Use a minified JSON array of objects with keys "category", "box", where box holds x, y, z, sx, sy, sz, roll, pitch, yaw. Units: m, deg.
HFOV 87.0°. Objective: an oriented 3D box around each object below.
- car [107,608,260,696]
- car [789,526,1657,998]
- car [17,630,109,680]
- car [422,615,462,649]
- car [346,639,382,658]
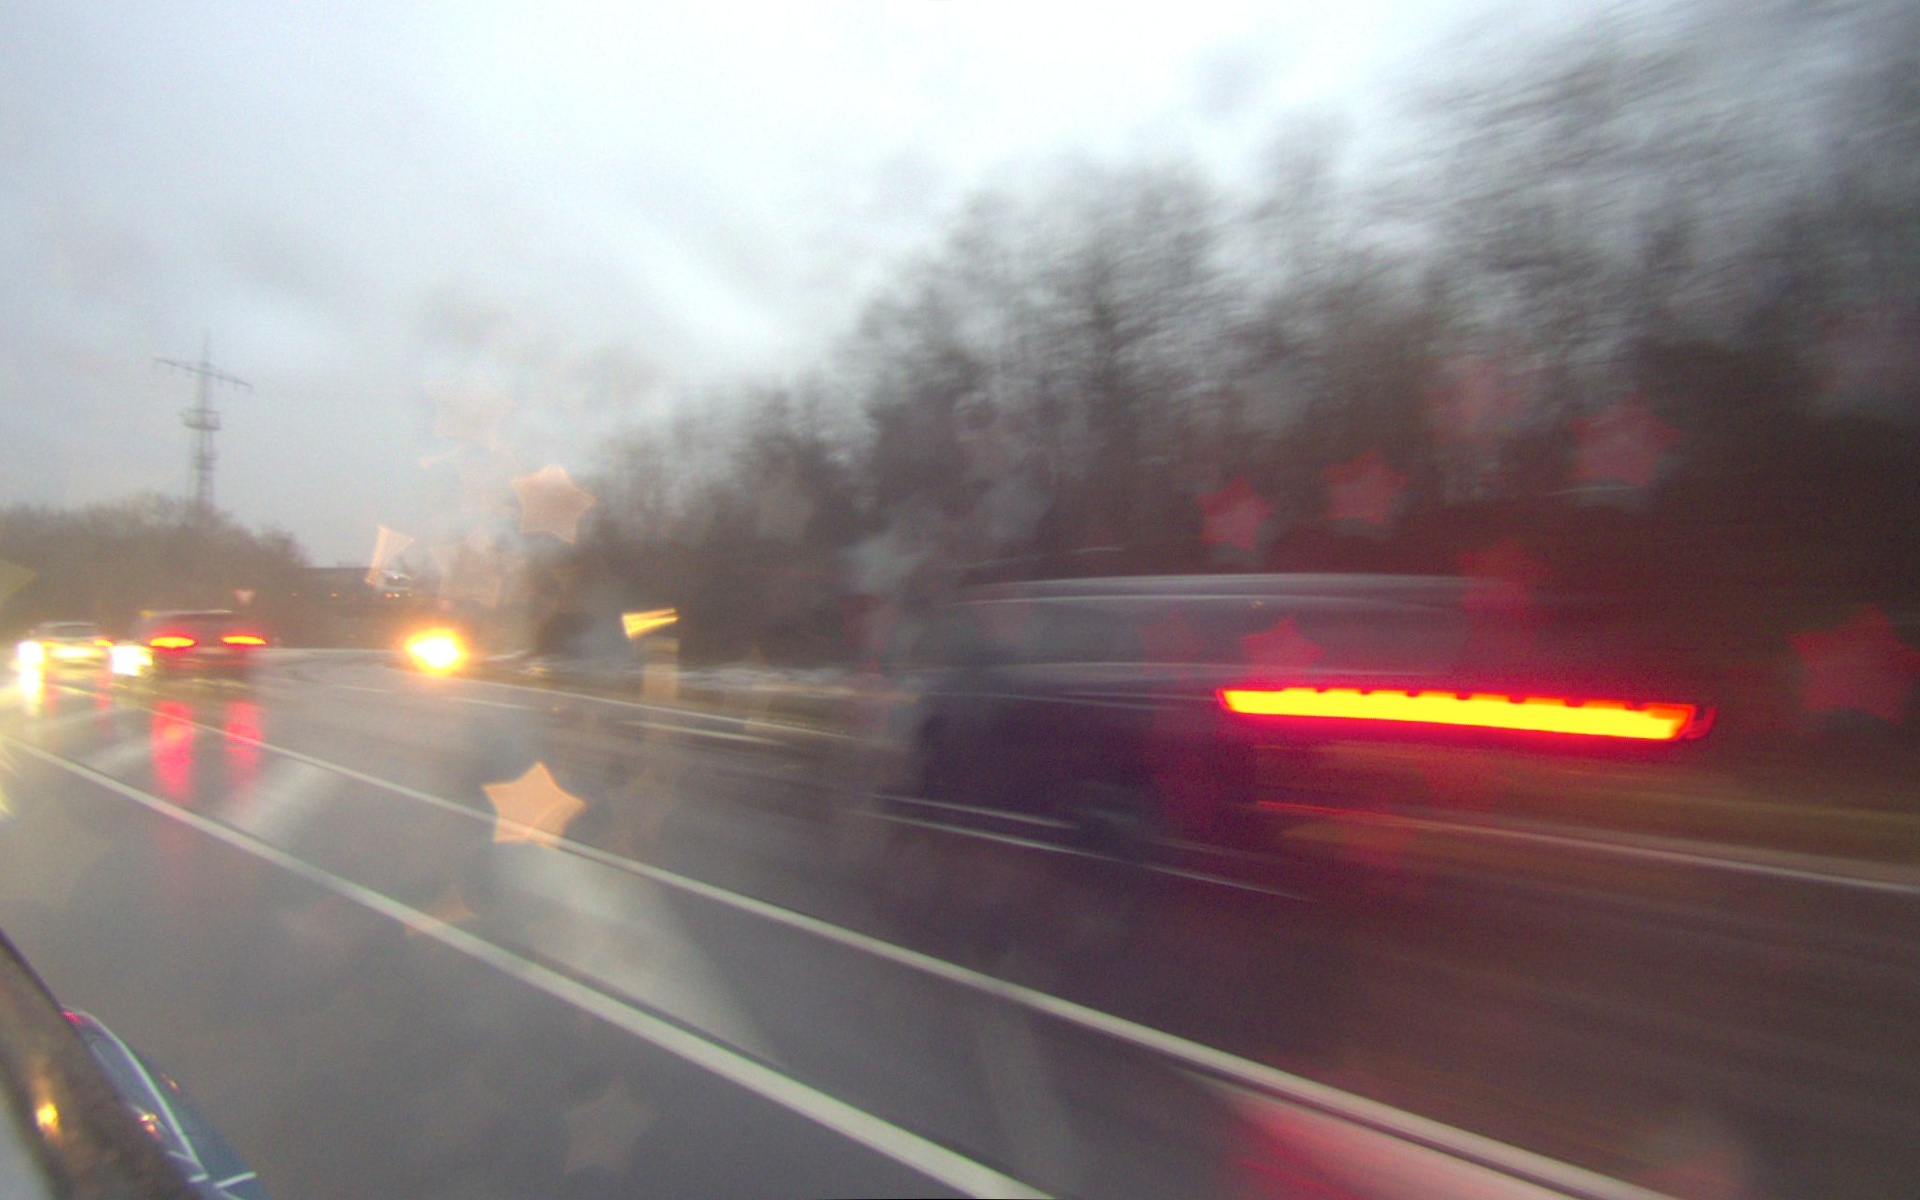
[{"category":"car","box":[-16.755,1.061,21.755,4.727,1.661,1.881,-2,-1,43]},{"category":"car","box":[1.142,0.588,5.772,4.467,1.660,1.840,0,-1,43]},{"category":"car","box":[-29.324,1.793,33.052,4.298,1.535,1.803,-3,-4,43]},{"category":"car","box":[-32.416,1.985,63.422,1.812,1.984,4.372,-1,0,-21]},{"category":"car","box":[-63.997,5.165,108.676,4.809,1.769,1.930,0,1,42]}]
